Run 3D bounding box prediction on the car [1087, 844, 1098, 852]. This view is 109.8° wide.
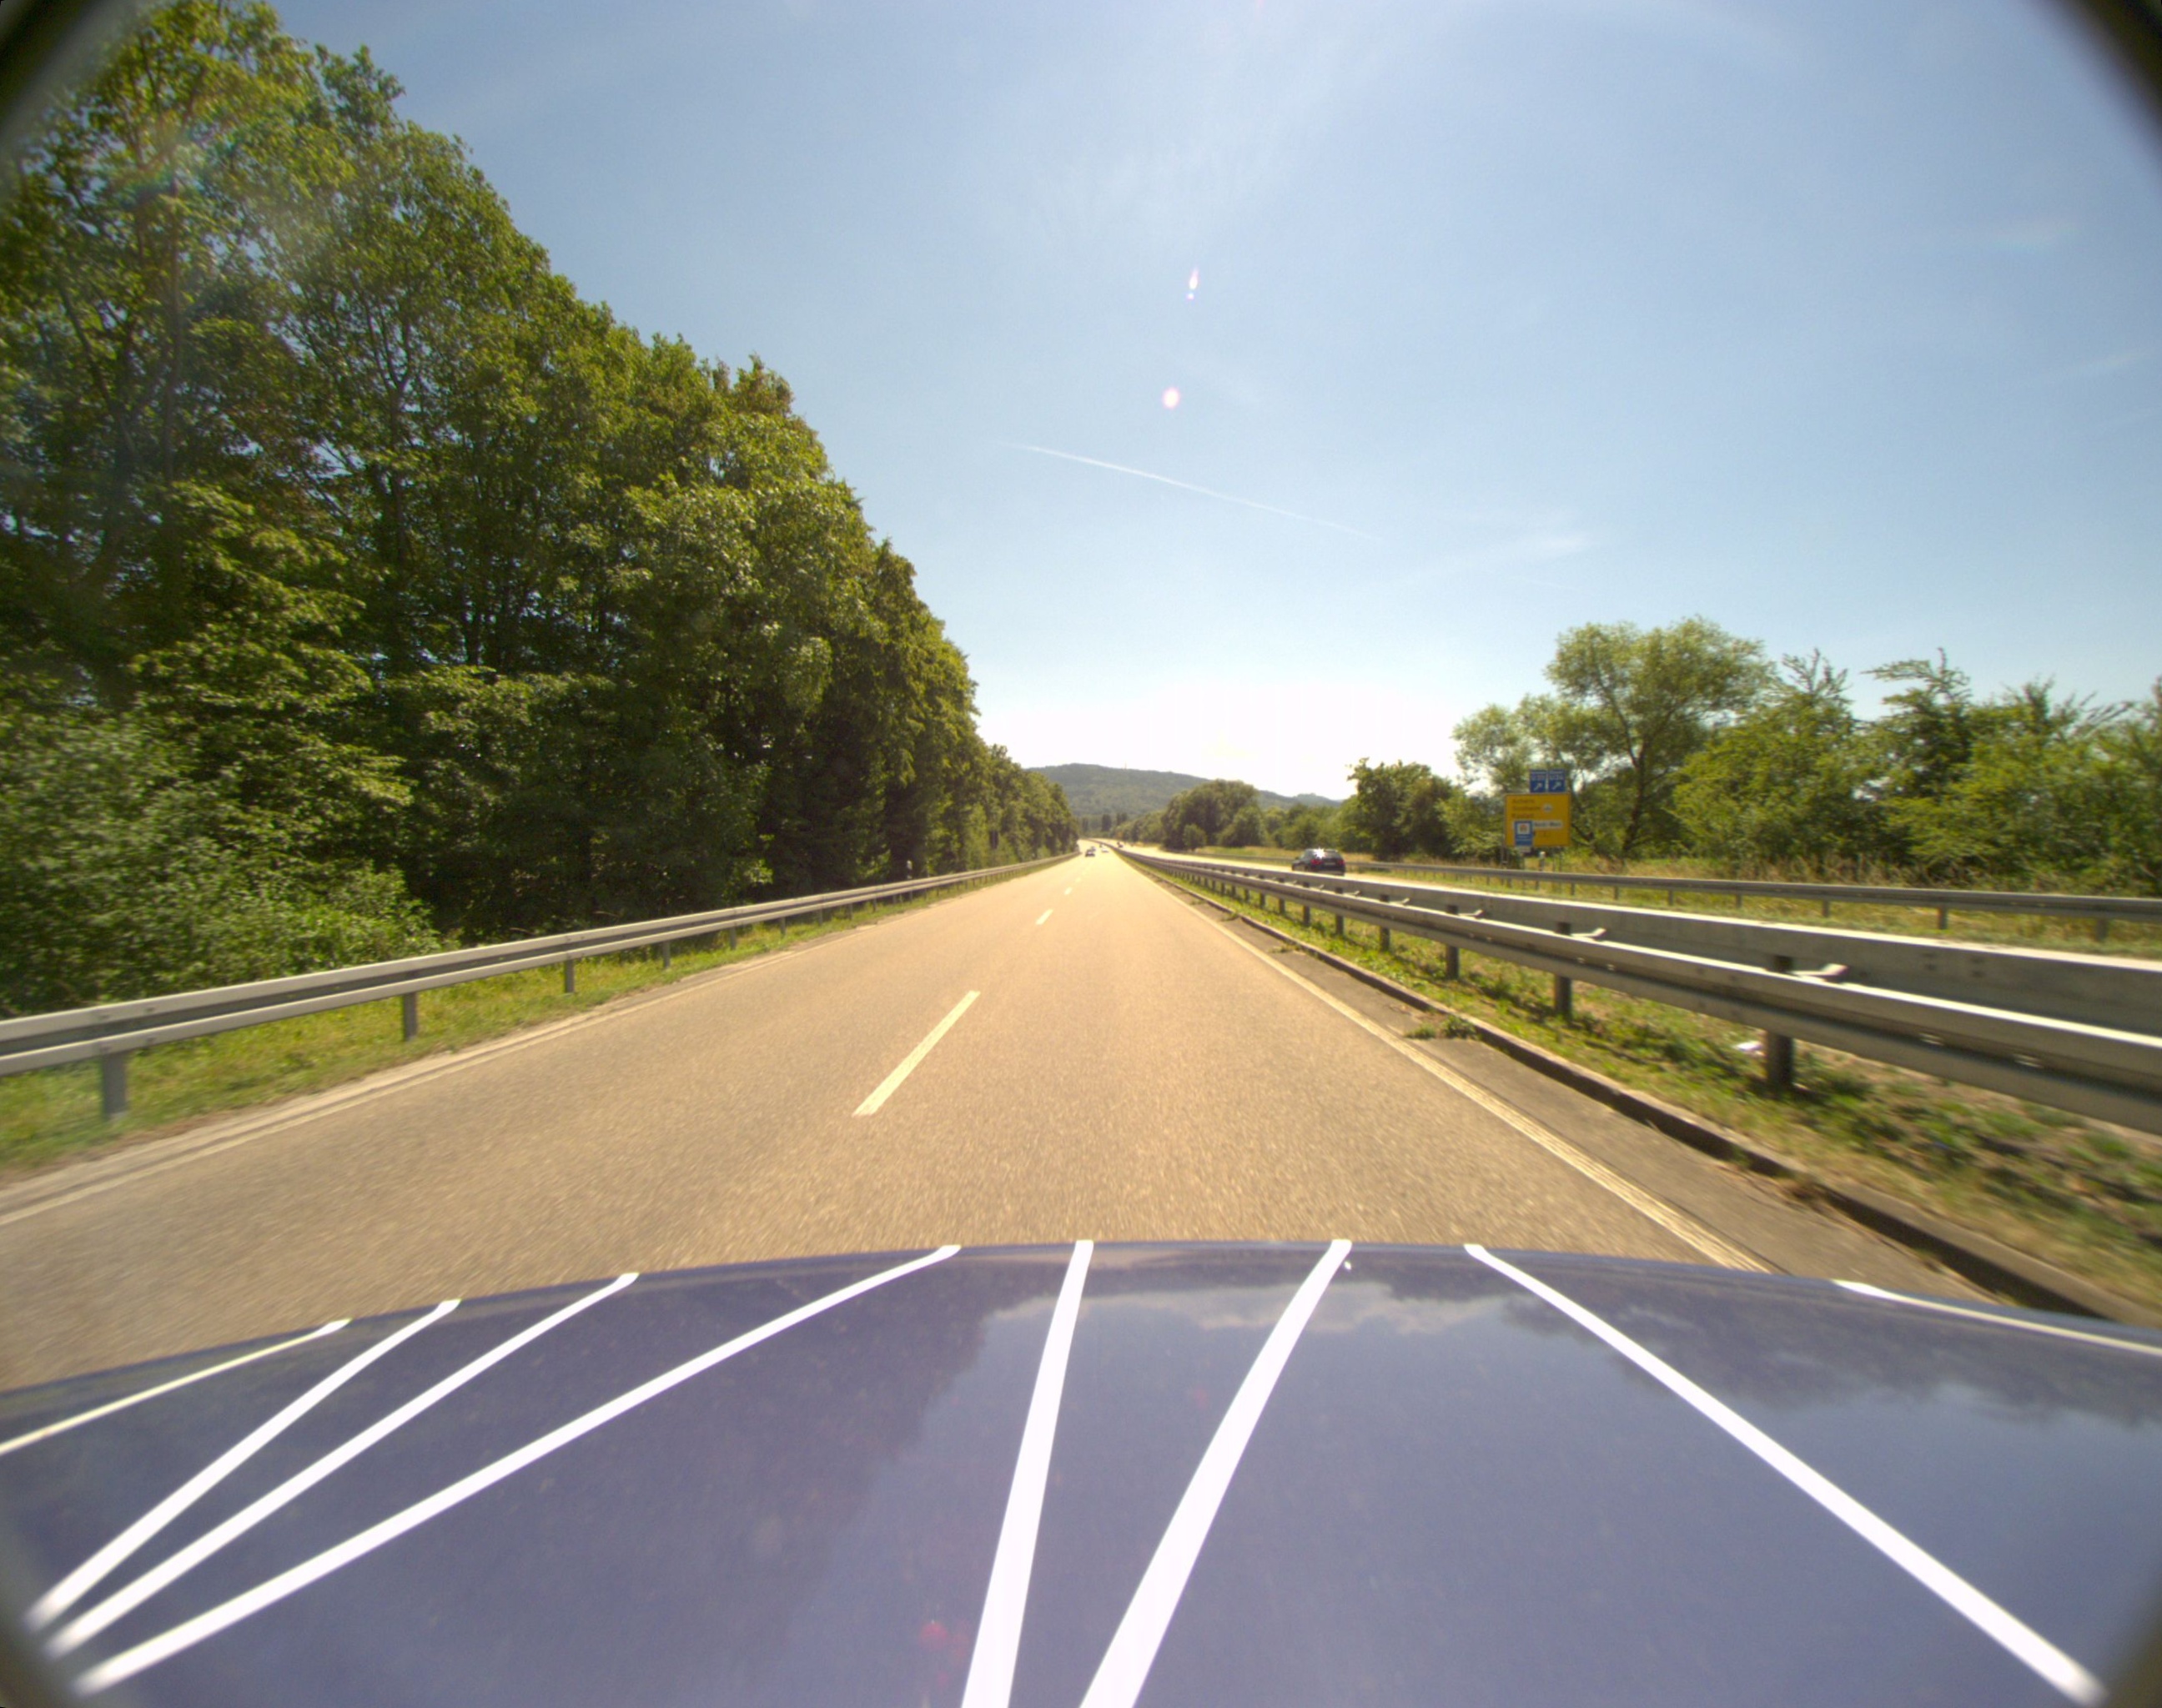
[{"bbox_3d":[2.245,-1.122,144.797,1.908,1.368,3.890,-2,2,4],"label":"car"}]

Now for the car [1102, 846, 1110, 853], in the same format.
[{"bbox_3d":[6.483,-1.236,195.627,1.908,1.687,3.890,-2,2,4],"label":"car"}]

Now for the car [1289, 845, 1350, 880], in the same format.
[{"bbox_3d":[11.902,0.367,38.223,1.784,1.611,4.505,0,1,2],"label":"car"}]
